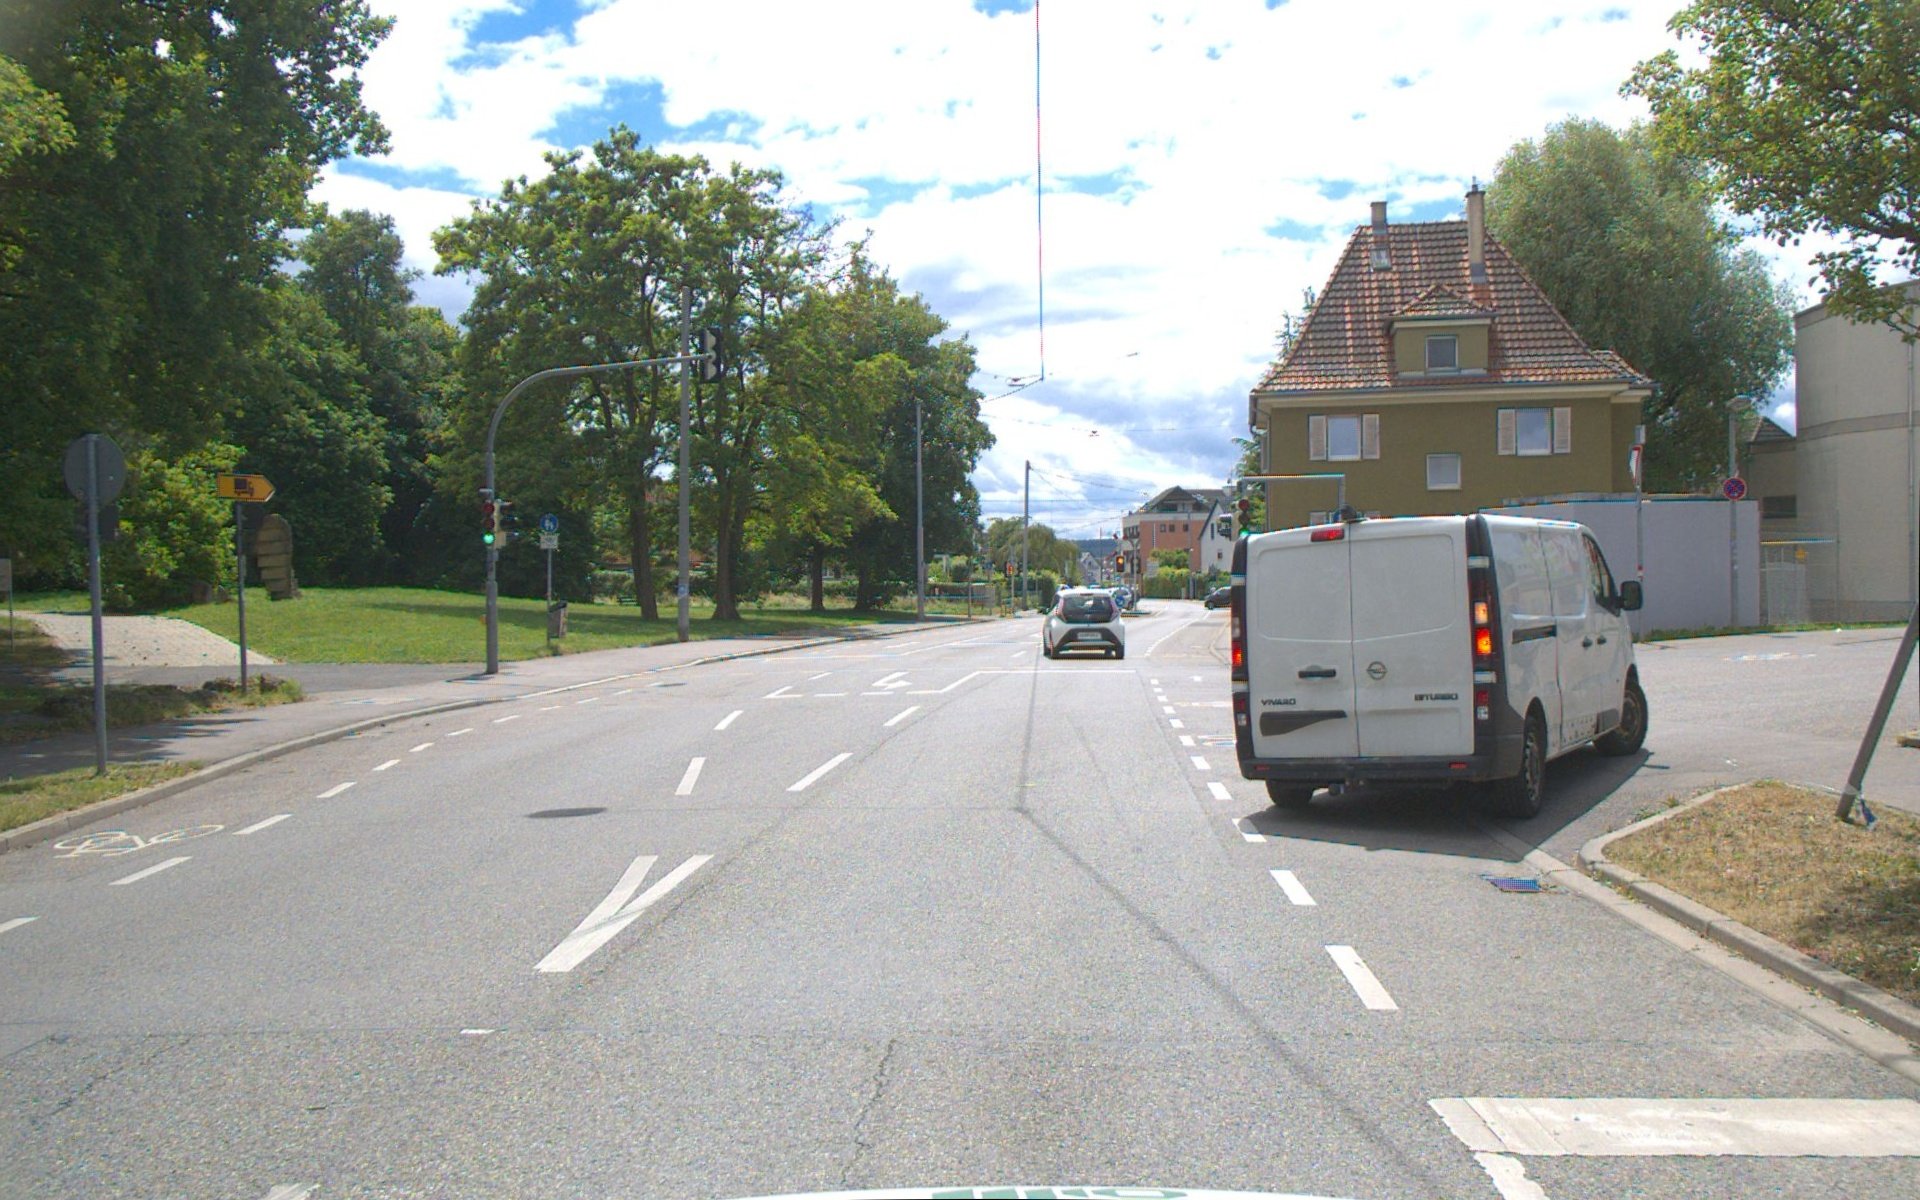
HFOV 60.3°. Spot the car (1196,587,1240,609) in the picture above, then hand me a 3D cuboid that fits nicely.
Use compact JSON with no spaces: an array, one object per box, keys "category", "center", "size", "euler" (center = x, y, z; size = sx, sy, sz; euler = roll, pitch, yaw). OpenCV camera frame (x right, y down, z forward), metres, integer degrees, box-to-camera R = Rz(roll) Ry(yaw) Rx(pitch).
[{"category":"car","center":[17.990,-0.140,115.306],"size":[2.975,1.459,1.484],"euler":[-1,0,8]}]

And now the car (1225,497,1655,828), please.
[{"category":"car","center":[3.838,0.318,12.537],"size":[1.903,1.994,4.822],"euler":[-1,1,31]}]

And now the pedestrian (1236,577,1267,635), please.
[{"category":"pedestrian","center":[8.351,0.179,47.464],"size":[0.664,1.580,0.835],"euler":[-3,-2,-1]}]

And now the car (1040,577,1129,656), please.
[{"category":"car","center":[2.700,0.341,36.633],"size":[1.570,1.634,3.999],"euler":[0,0,-1]}]
